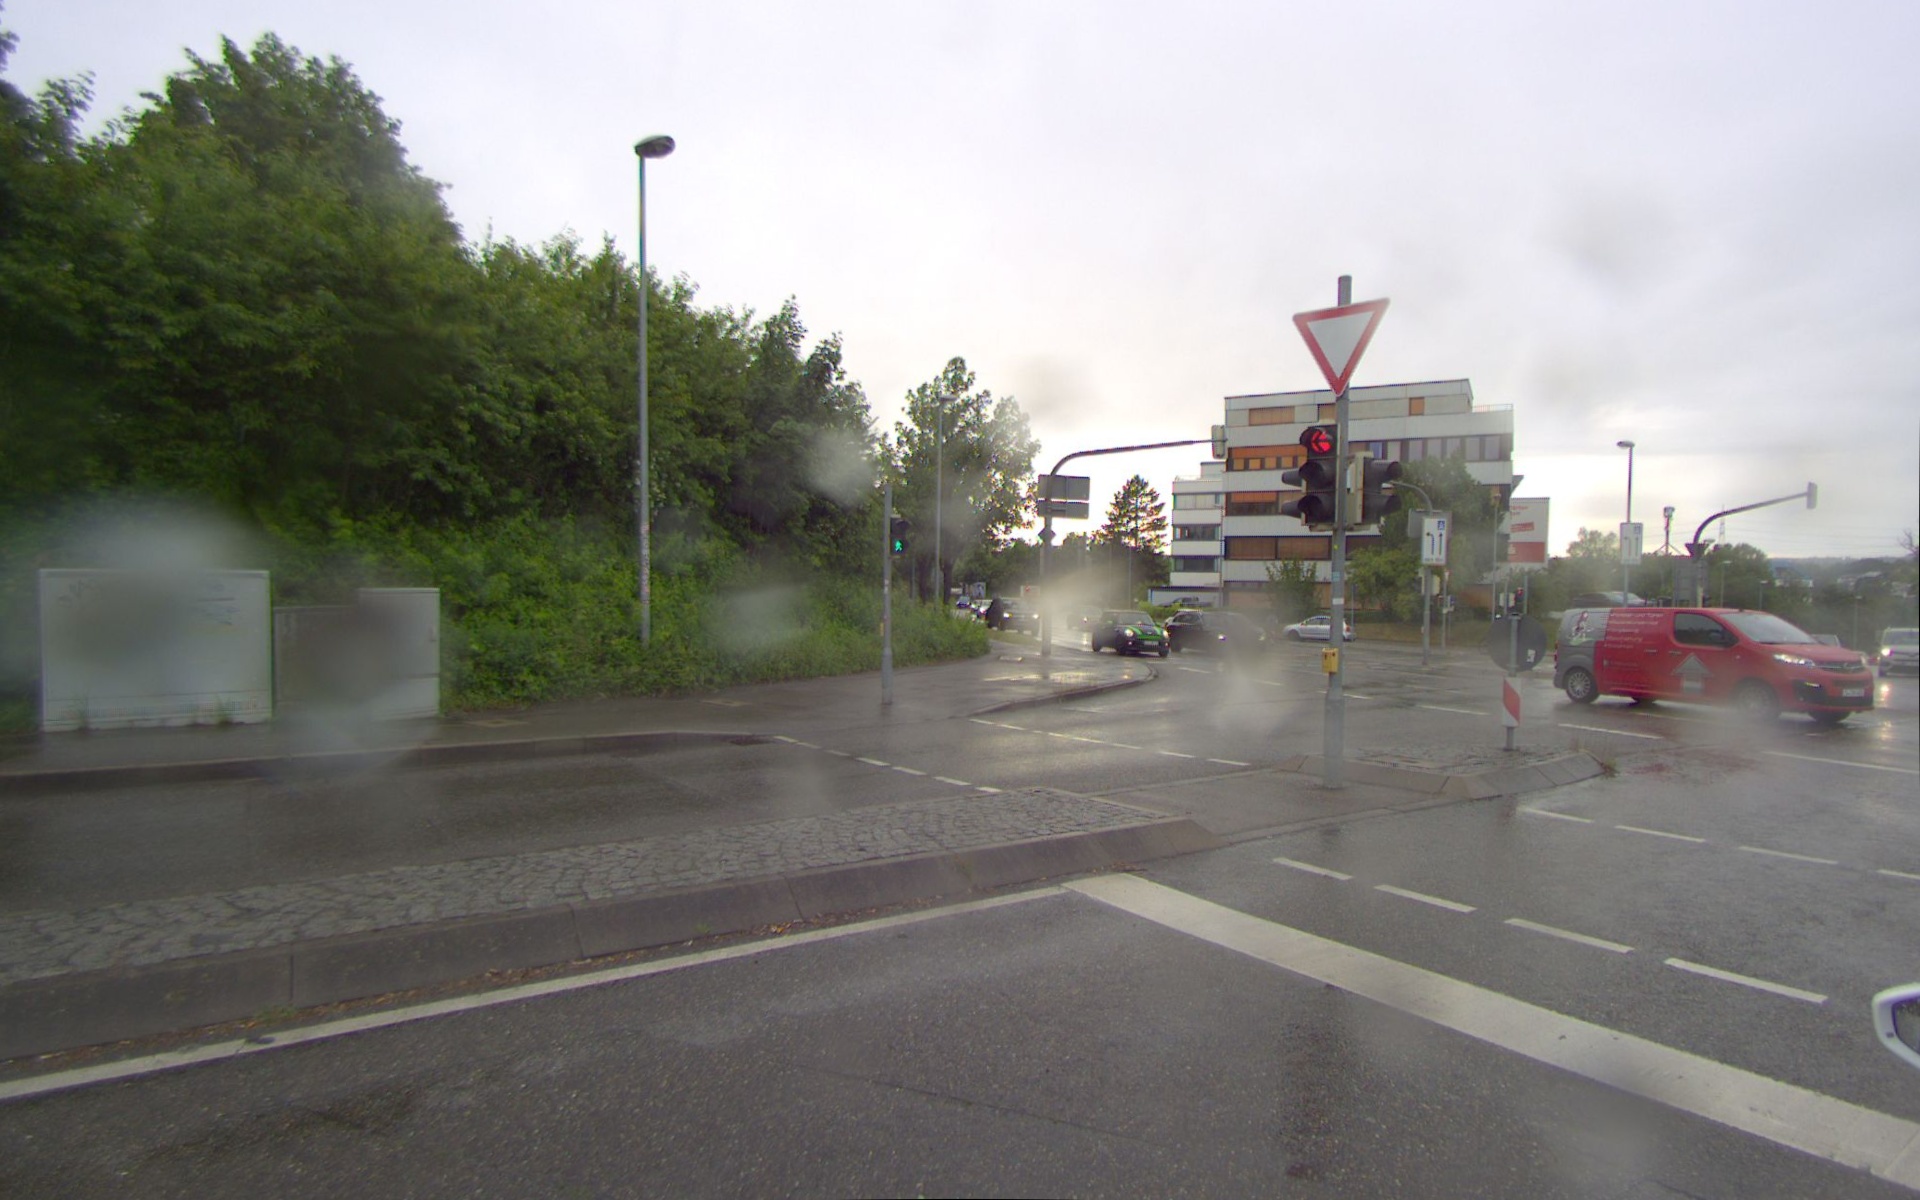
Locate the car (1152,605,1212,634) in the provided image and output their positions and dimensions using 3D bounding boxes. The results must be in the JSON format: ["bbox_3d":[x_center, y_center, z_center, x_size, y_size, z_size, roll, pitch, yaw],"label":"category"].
[{"bbox_3d":[13.657,1.173,62.002,1.926,1.617,3.985,1,1,-17],"label":"car"}]

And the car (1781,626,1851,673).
[{"bbox_3d":[38.908,2.188,45.635,3.972,1.920,1.974,1,1,-43],"label":"car"}]

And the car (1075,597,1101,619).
[{"bbox_3d":[11.526,0.742,90.709,1.960,1.873,4.000,1,1,1],"label":"car"}]

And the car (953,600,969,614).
[{"bbox_3d":[0.114,0.831,117.962,1.809,1.534,4.001,1,0,2],"label":"car"}]

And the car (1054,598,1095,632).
[{"bbox_3d":[6.542,0.822,57.701,1.672,1.862,3.998,1,1,-3],"label":"car"}]

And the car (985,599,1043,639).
[{"bbox_3d":[2.528,0.884,48.404,1.963,1.725,4.605,1,1,-7],"label":"car"}]

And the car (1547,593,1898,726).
[{"bbox_3d":[13.343,0.919,18.038,1.967,2.040,4.770,1,0,-16],"label":"car"}]

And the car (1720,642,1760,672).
[{"bbox_3d":[57.770,4.203,74.390,1.972,1.920,3.977,2,1,43],"label":"car"}]

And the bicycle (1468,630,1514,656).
[{"bbox_3d":[24.281,1.960,45.926,0.604,1.066,1.762,1,1,-35],"label":"bicycle"}]

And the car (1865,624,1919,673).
[{"bbox_3d":[34.836,1.763,36.994,3.974,1.639,1.973,1,1,-45],"label":"car"}]

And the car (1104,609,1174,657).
[{"bbox_3d":[5.834,1.051,33.079,1.648,1.405,3.460,1,1,0],"label":"car"}]

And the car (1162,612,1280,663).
[{"bbox_3d":[8.809,1.236,34.329,1.965,1.496,4.662,1,1,-13],"label":"car"}]

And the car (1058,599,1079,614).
[{"bbox_3d":[15.162,0.877,140.743,1.960,2.041,5.013,1,1,17],"label":"car"}]

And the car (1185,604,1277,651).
[{"bbox_3d":[10.649,1.049,39.810,1.964,1.706,3.992,1,1,-10],"label":"car"}]

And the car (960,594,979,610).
[{"bbox_3d":[0.888,0.190,97.265,1.809,1.534,3.999,1,0,0],"label":"car"}]

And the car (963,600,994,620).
[{"bbox_3d":[1.415,0.746,78.160,1.891,1.436,4.149,1,1,-5],"label":"car"}]

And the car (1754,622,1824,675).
[{"bbox_3d":[33.426,1.892,40.472,1.971,1.920,3.978,2,1,42],"label":"car"}]

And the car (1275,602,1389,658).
[{"bbox_3d":[13.692,1.066,37.262,1.966,1.865,4.143,1,1,-14],"label":"car"}]

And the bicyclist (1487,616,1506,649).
[{"bbox_3d":[24.419,1.484,45.736,0.597,1.465,0.539,1,1,-36],"label":"bicyclist"}]

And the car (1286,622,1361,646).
[{"bbox_3d":[19.715,1.799,54.465,3.457,1.120,1.815,2,1,35],"label":"car"}]
